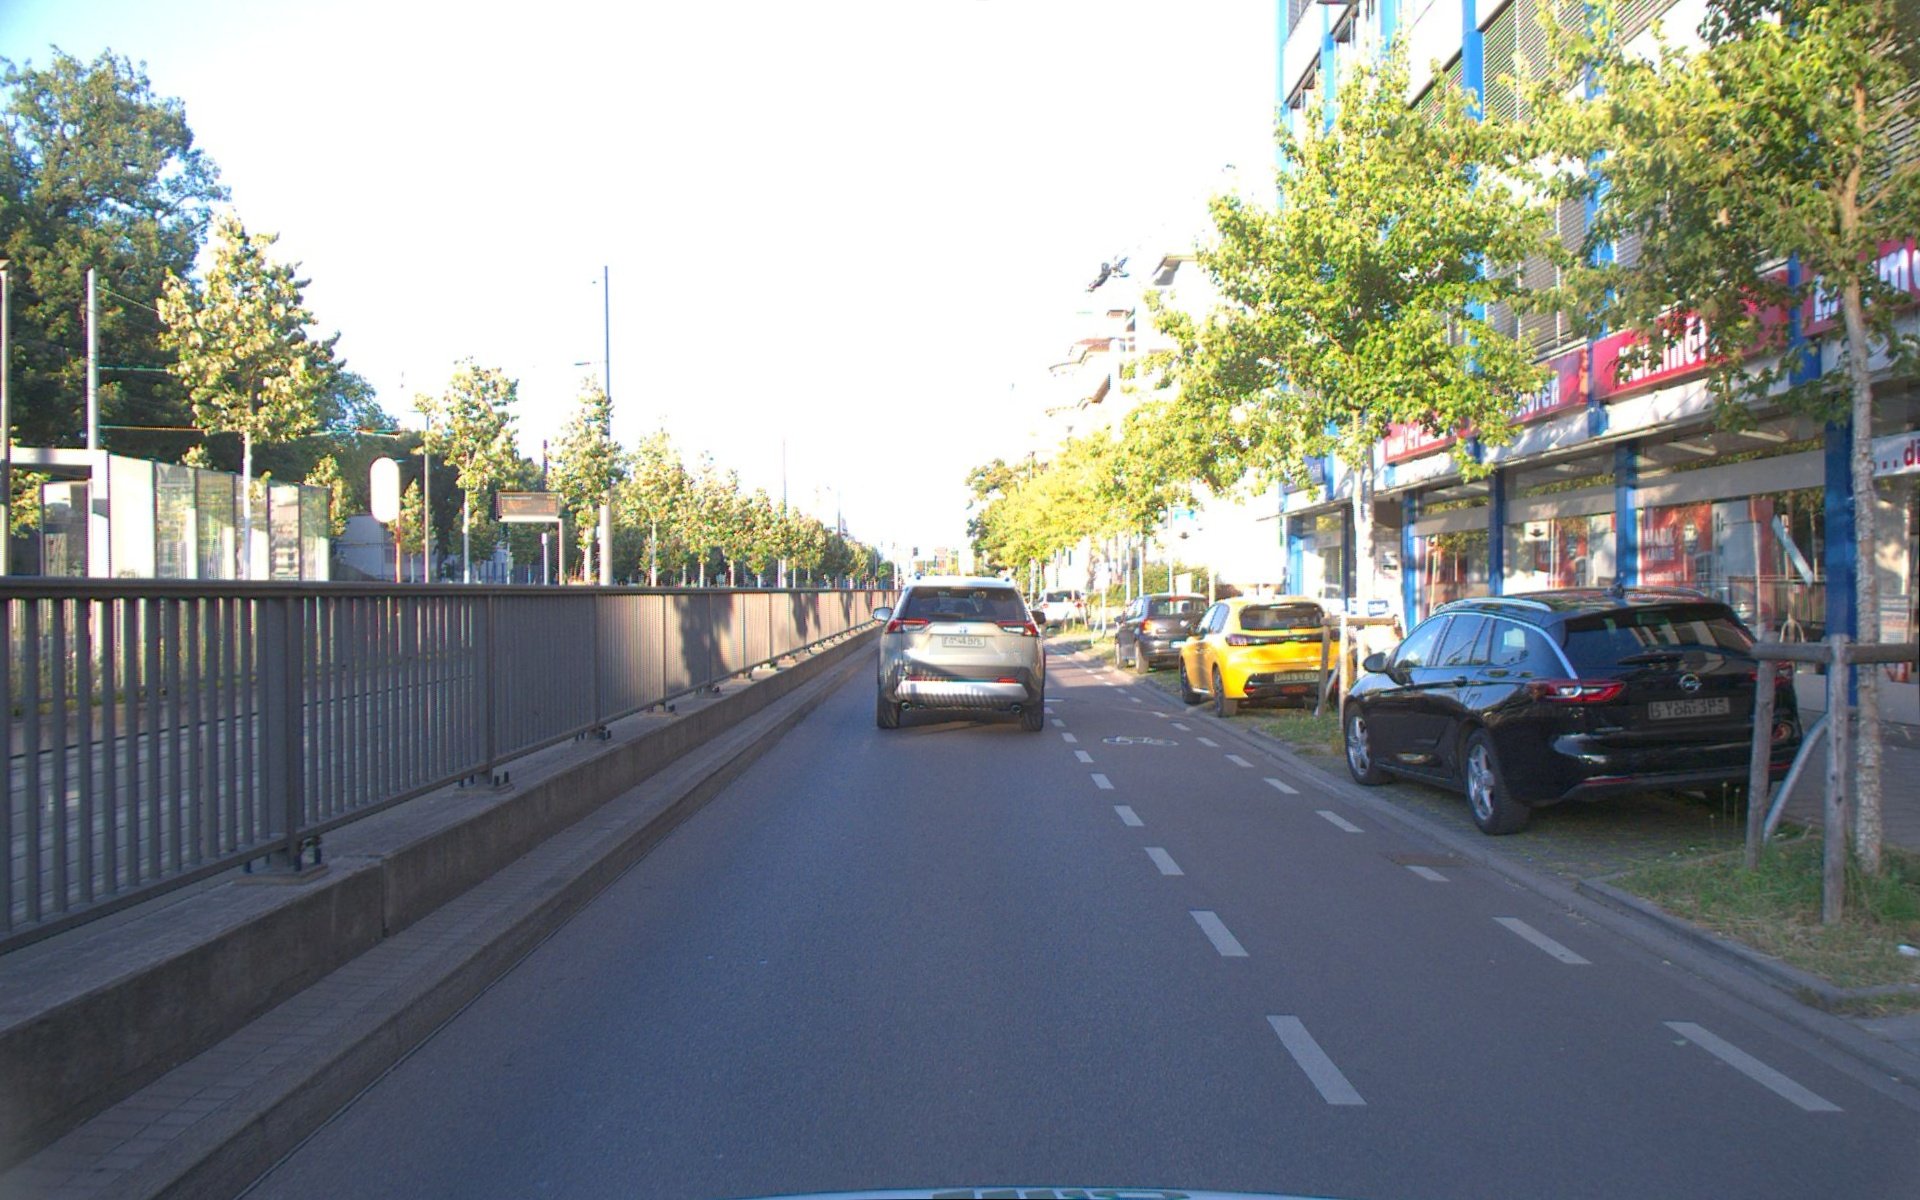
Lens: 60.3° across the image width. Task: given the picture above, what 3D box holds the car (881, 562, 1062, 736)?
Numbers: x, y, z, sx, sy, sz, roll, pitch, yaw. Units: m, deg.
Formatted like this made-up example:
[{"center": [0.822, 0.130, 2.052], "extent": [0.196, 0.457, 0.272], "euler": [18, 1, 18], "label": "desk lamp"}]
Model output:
[{"center": [0.042, 0.509, 19.140], "extent": [1.820, 1.744, 4.190], "euler": [1, 0, -2], "label": "car"}]

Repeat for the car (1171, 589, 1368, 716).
[{"center": [3.972, 0.627, 21.861], "extent": [1.649, 1.480, 4.128], "euler": [-1, 0, -2], "label": "car"}]

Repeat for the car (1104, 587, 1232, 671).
[{"center": [3.973, 0.529, 32.180], "extent": [1.782, 1.480, 4.126], "euler": [-1, 0, -2], "label": "car"}]

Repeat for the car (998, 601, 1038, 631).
[{"center": [3.151, 0.864, 90.704], "extent": [1.757, 1.496, 4.442], "euler": [-3, 0, -3], "label": "car"}]

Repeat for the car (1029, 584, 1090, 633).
[{"center": [3.655, 0.304, 61.314], "extent": [1.817, 1.736, 4.252], "euler": [0, 0, -2], "label": "car"}]

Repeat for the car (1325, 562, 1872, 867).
[{"center": [4.143, 0.636, 11.749], "extent": [1.783, 1.594, 4.808], "euler": [-4, 0, -2], "label": "car"}]

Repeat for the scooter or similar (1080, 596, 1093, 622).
[{"center": [6.296, 0.454, 82.551], "extent": [0.481, 1.280, 1.207], "euler": [1, -1, -4], "label": "scooter or similar"}]
